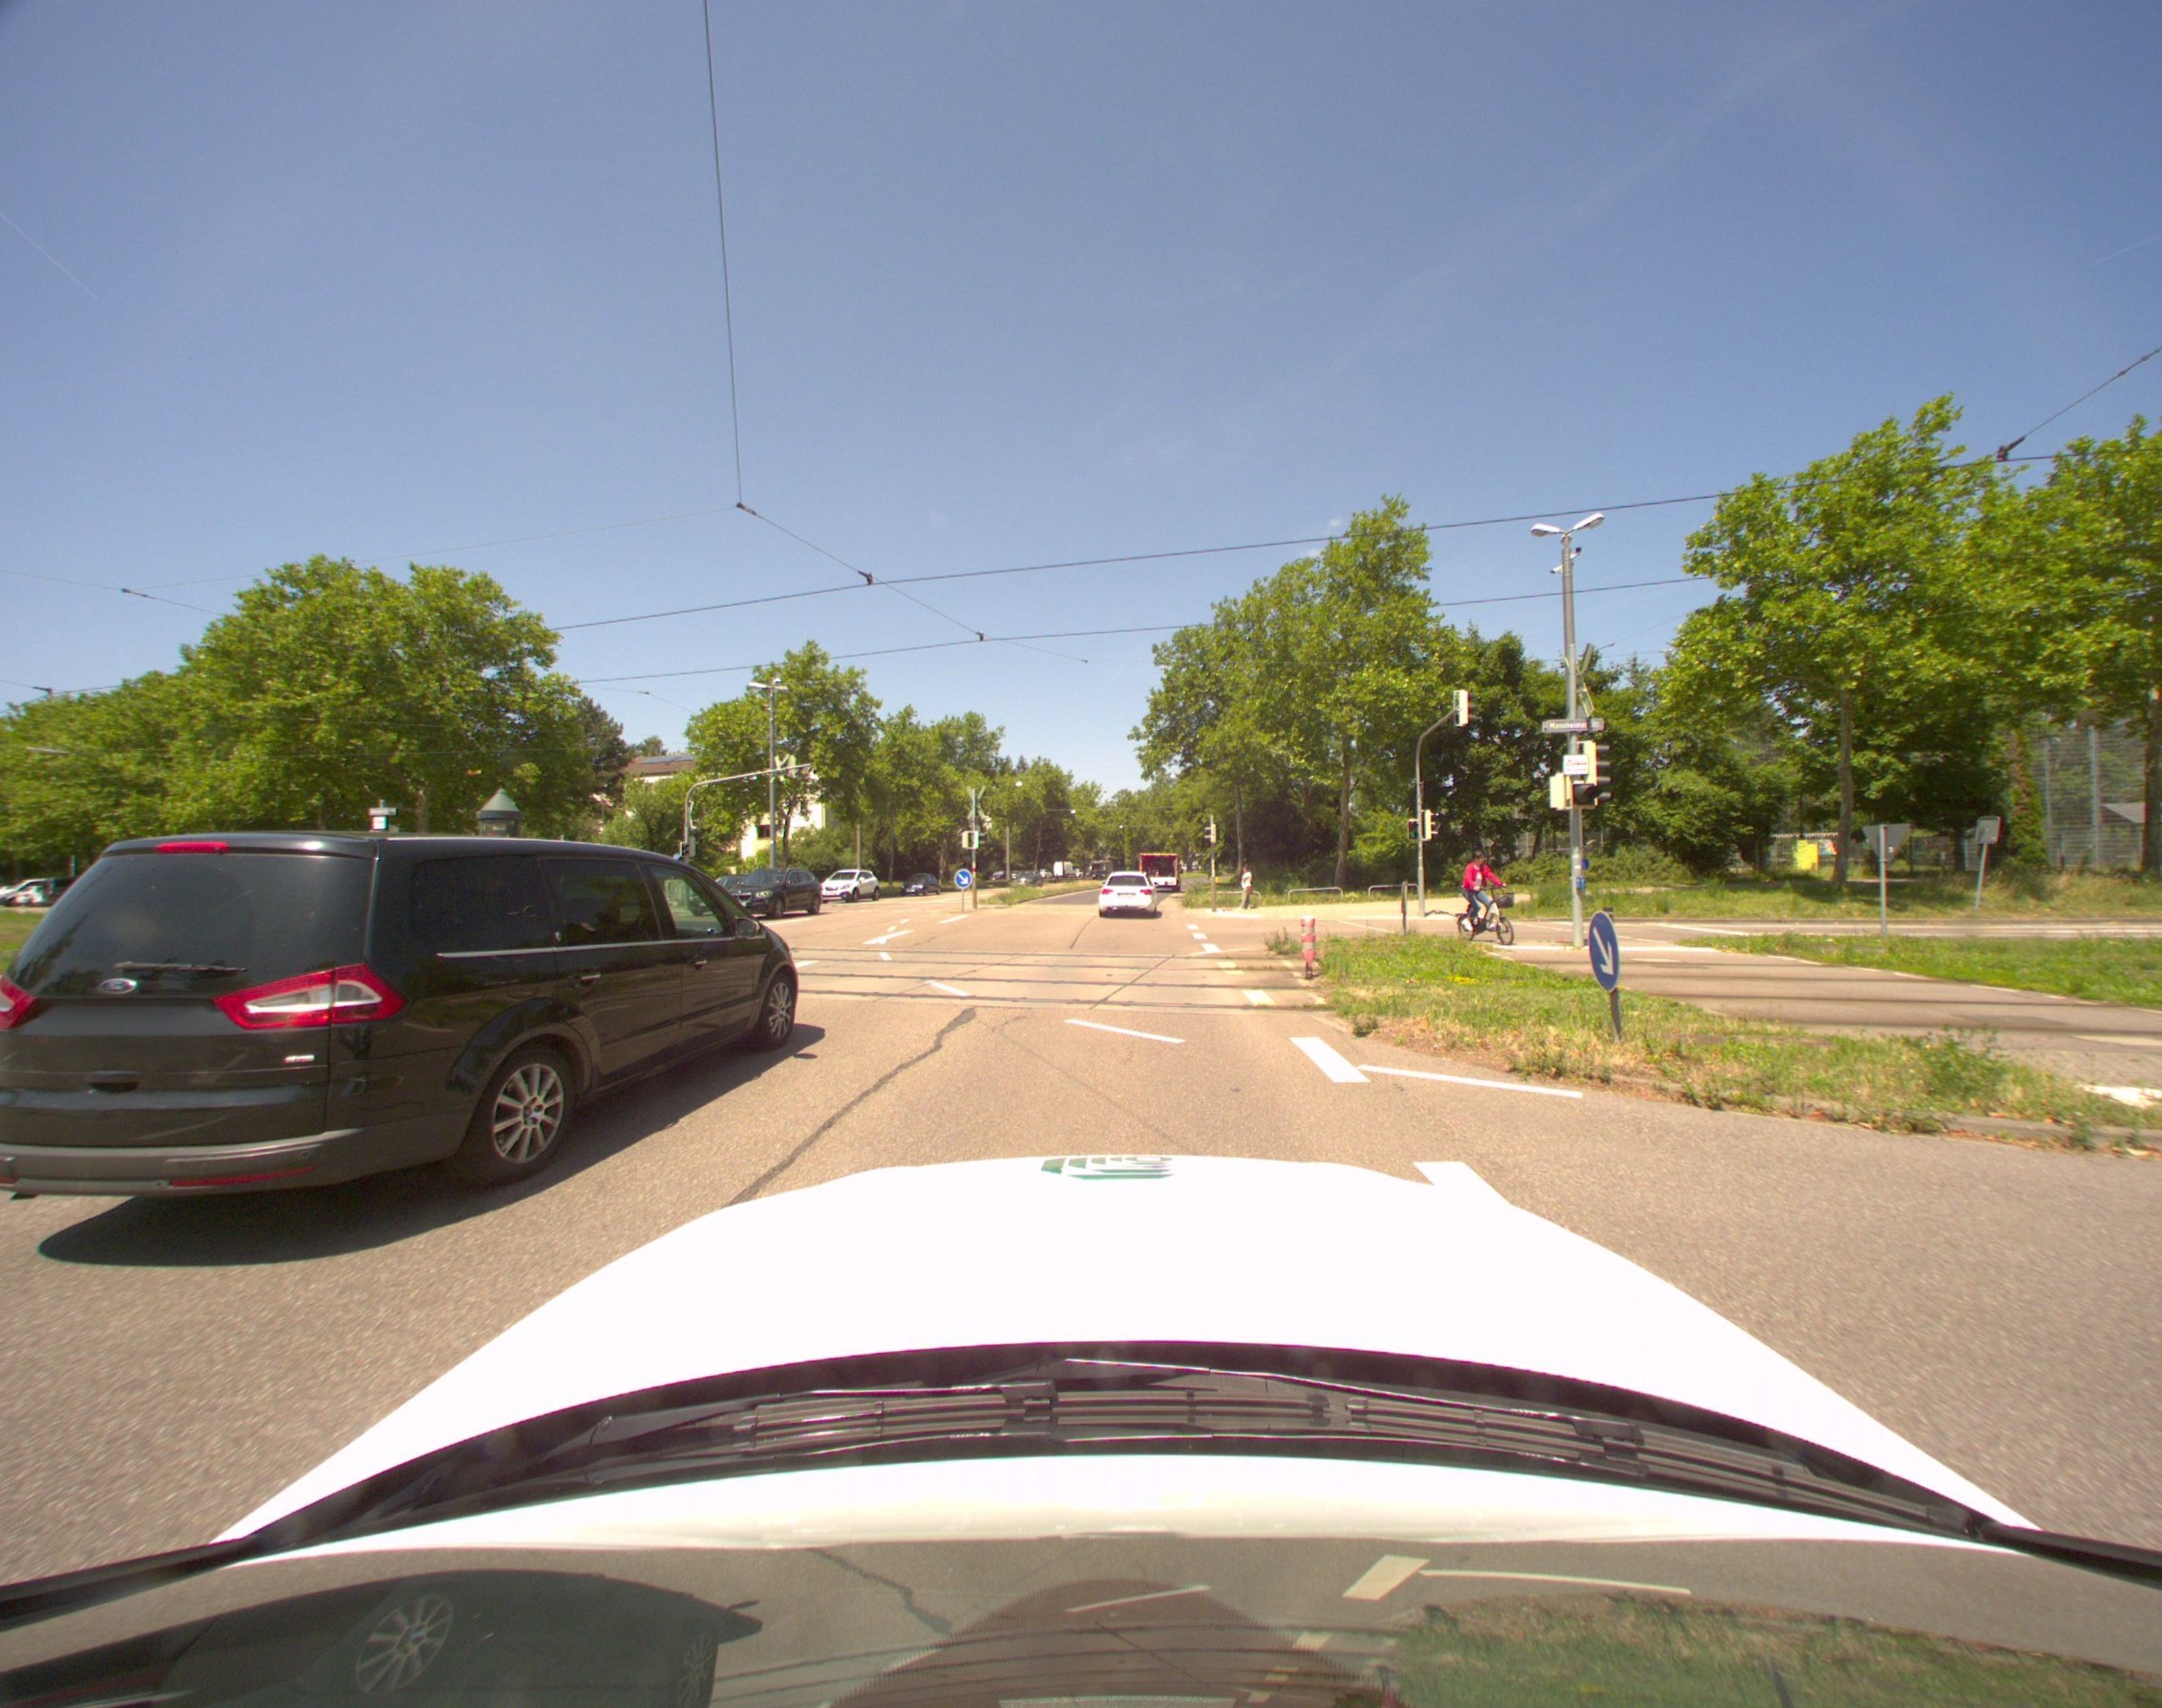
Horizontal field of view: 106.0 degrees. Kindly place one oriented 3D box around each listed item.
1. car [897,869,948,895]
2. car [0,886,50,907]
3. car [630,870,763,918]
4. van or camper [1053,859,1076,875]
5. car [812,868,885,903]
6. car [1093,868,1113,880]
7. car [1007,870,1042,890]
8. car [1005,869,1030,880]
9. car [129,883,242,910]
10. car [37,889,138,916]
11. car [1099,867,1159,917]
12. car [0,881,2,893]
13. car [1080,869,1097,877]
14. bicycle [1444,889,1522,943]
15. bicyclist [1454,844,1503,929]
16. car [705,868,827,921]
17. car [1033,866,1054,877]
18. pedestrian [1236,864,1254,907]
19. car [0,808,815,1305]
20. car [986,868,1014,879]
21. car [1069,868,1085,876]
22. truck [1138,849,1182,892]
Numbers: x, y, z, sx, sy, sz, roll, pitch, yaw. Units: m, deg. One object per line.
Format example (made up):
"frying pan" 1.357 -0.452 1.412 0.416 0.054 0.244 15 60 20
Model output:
"car" -9.854 1.730 50.841 1.709 1.455 3.881 -1 -1 12
"car" -74.642 2.958 56.492 1.481 1.397 3.570 -1 -1 24
"car" -13.264 1.339 28.475 1.939 1.440 4.755 -1 -1 7
"van or camper" -2.628 2.081 132.312 2.165 2.587 5.333 -1 -1 17
"car" -11.557 1.535 40.805 1.777 1.615 4.415 -1 -1 9
"car" 3.017 2.702 109.539 1.800 1.507 4.608 -1 -1 12
"car" -4.390 2.030 63.818 1.725 1.395 4.190 -3 -1 10
"car" -8.831 2.835 113.682 1.865 1.376 4.020 -1 -1 21
"car" -51.841 2.425 47.247 1.441 1.397 4.160 0 -1 24
"car" -59.662 2.880 48.964 1.481 1.397 3.570 -1 -1 24
"car" 1.509 1.155 26.011 1.755 1.445 3.618 -1 -1 3
"car" -98.087 2.968 72.220 0.996 0.994 2.736 -1 -1 26
"car" 1.312 3.342 144.118 1.813 1.391 3.967 -1 -1 20
"bicycle" 7.520 1.137 15.318 0.585 0.896 1.812 -1 -1 1
"bicyclist" 7.514 0.610 15.409 0.575 1.556 0.674 -1 -1 1
"car" -9.995 1.235 26.217 1.900 1.539 4.305 -1 -1 5
"car" -5.673 2.647 123.367 1.867 1.474 4.017 -1 -1 17
"pedestrian" 5.749 1.098 28.543 0.549 1.484 0.632 -1 -1 13
"car" -3.541 0.758 5.254 1.846 1.756 4.653 -1 -1 3
"car" -10.720 2.615 108.166 1.865 1.393 4.022 -1 -1 23
"car" -0.631 3.004 138.402 1.680 1.284 3.819 -1 -1 16
"truck" 5.211 0.972 52.825 2.497 2.559 7.619 1 0 8
